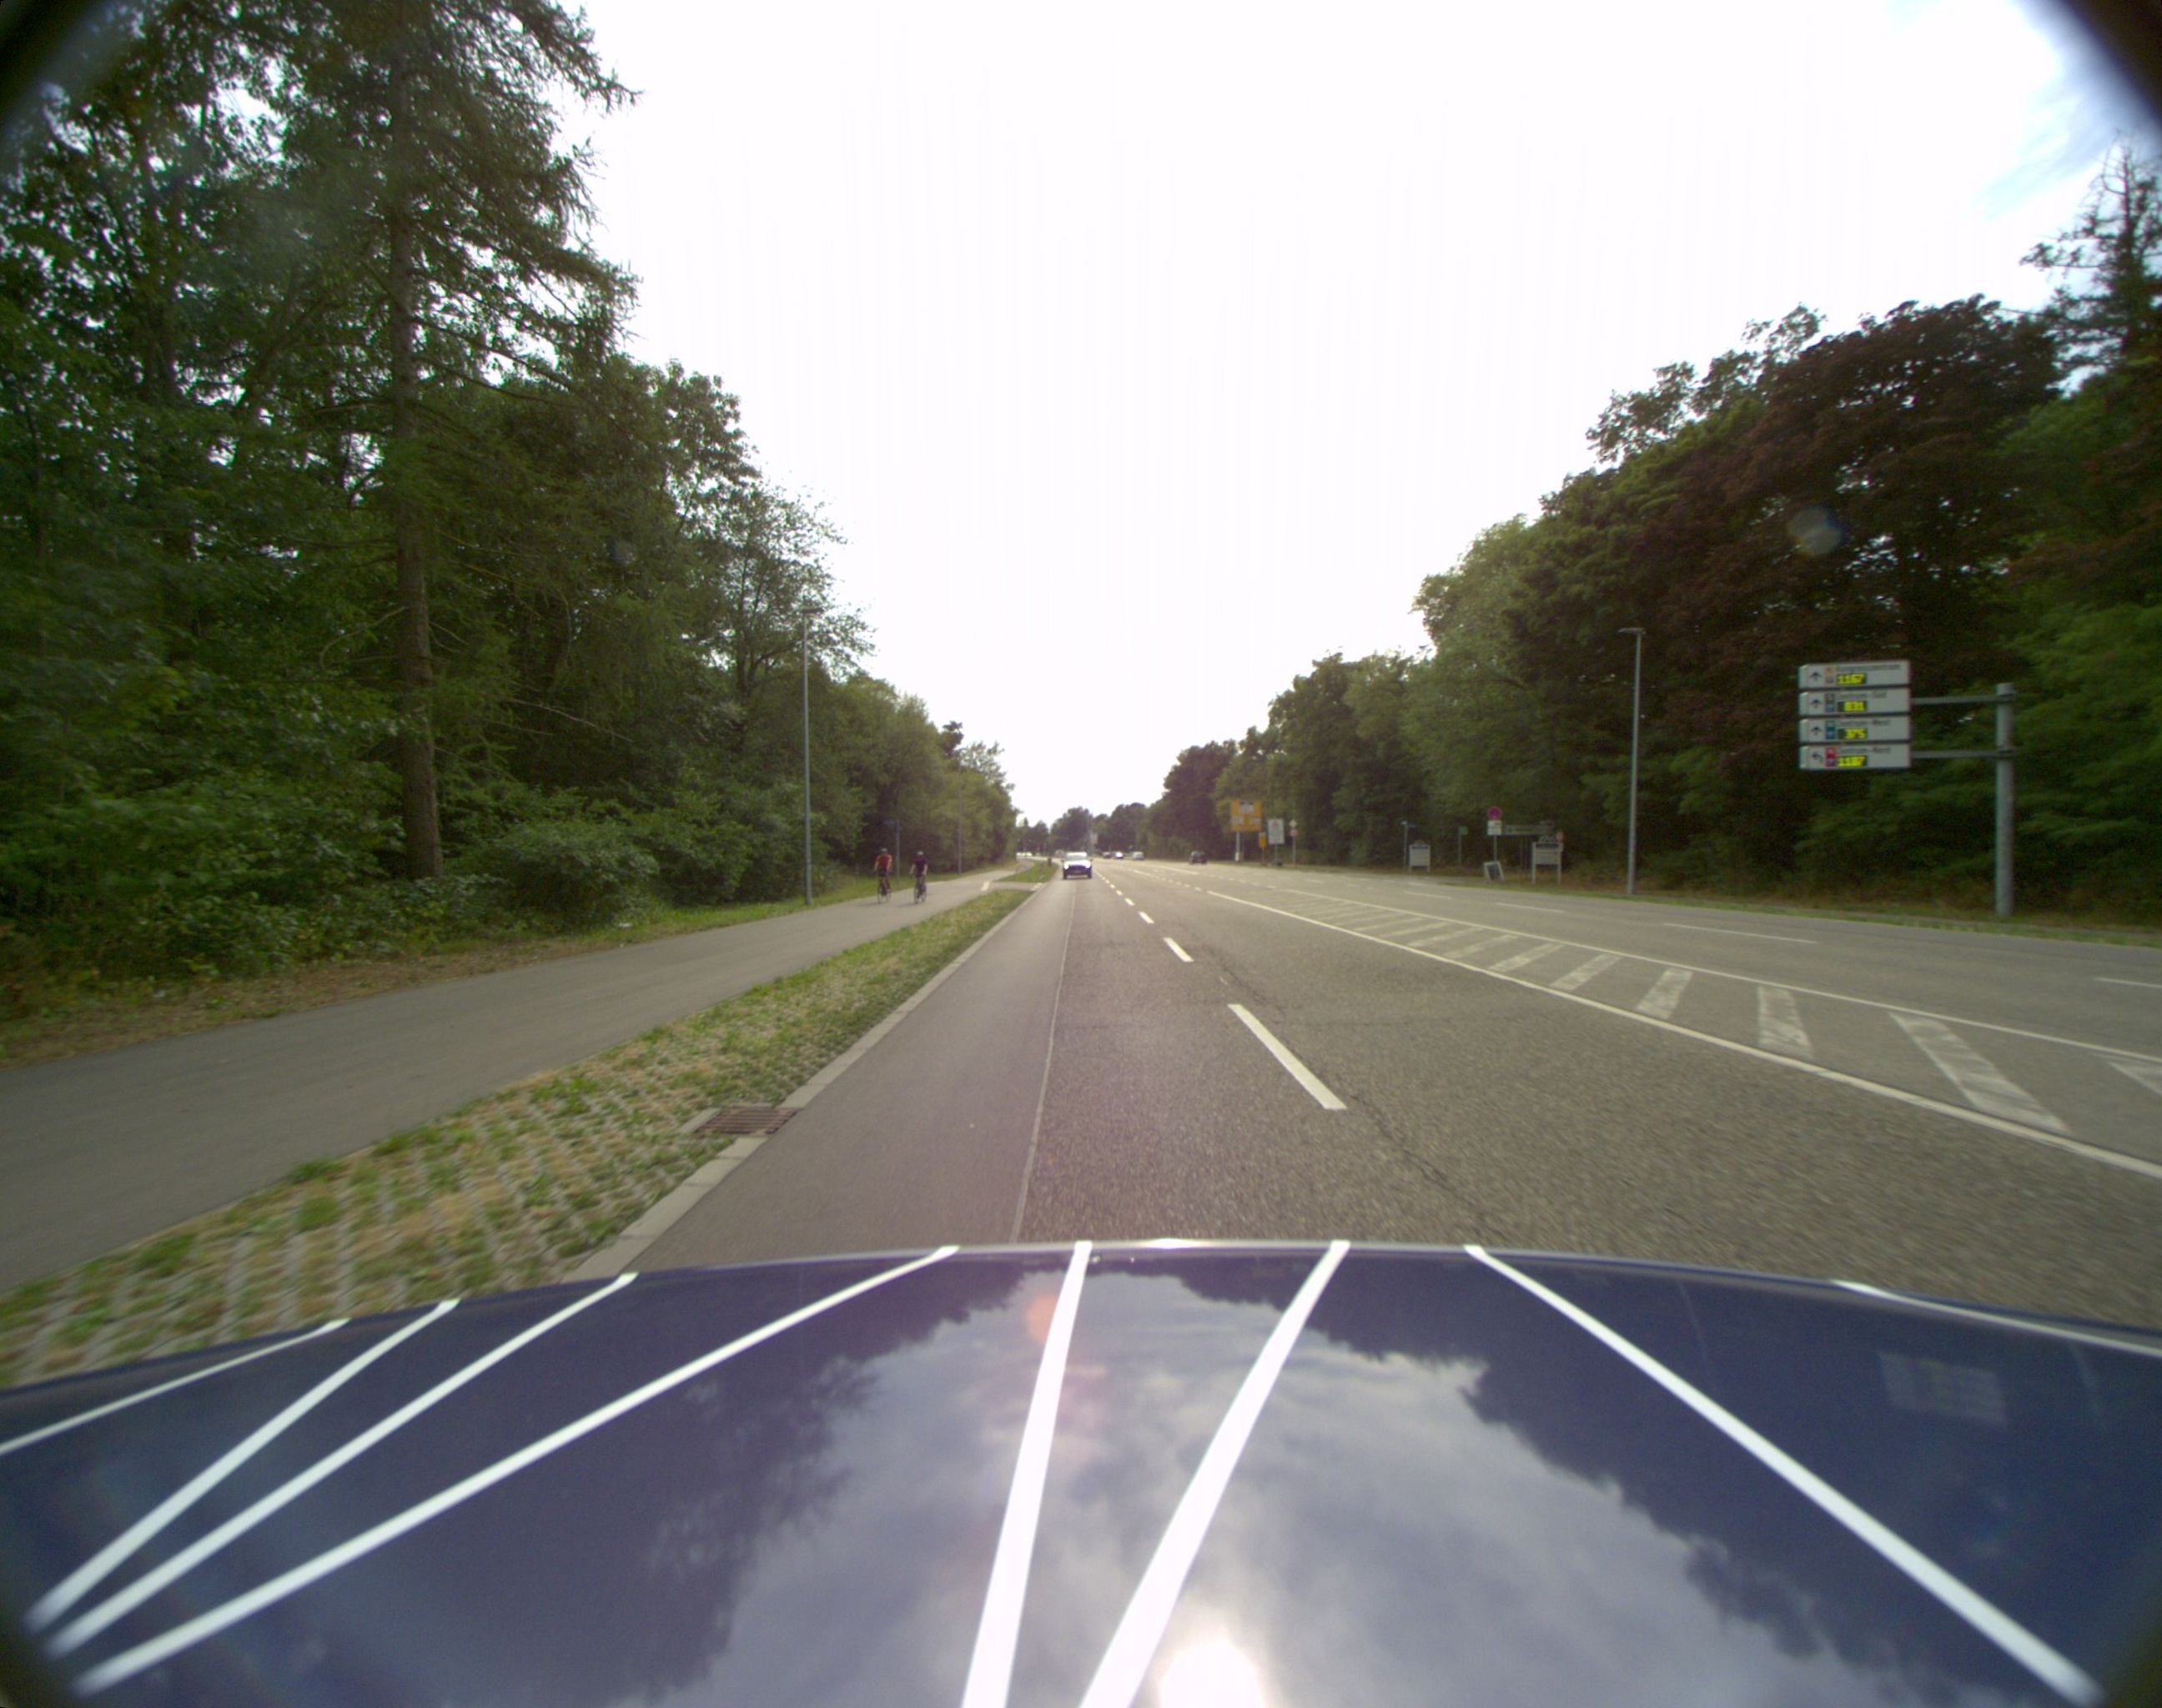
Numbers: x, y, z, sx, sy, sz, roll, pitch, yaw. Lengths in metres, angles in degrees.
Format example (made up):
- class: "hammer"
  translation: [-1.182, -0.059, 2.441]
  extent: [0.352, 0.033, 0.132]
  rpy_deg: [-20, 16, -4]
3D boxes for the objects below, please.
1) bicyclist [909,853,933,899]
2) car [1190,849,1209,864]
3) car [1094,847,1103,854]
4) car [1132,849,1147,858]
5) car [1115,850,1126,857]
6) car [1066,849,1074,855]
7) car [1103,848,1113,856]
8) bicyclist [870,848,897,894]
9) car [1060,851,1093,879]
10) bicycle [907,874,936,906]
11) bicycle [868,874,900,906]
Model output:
- class: "bicyclist"
  translation: [-5.164, 0.698, 24.529]
  extent: [0.521, 1.407, 1.186]
  rpy_deg: [-1, 1, -1]
- class: "car"
  translation: [13.249, 0.256, 85.225]
  extent: [1.745, 1.467, 4.000]
  rpy_deg: [-3, 1, 4]
- class: "car"
  translation: [4.987, -1.024, 212.455]
  extent: [1.999, 2.002, 3.997]
  rpy_deg: [-3, 1, -5]
- class: "car"
  translation: [10.538, -0.075, 137.087]
  extent: [1.940, 1.492, 4.589]
  rpy_deg: [-3, 1, -2]
- class: "car"
  translation: [9.590, -0.092, 183.223]
  extent: [1.999, 1.585, 3.997]
  rpy_deg: [-3, 1, -5]
- class: "car"
  translation: [-3.458, -0.653, 239.440]
  extent: [2.000, 1.641, 3.997]
  rpy_deg: [-1, 0, -7]
- class: "car"
  translation: [7.003, -0.631, 197.646]
  extent: [1.999, 1.871, 3.998]
  rpy_deg: [-3, 1, -3]
- class: "bicyclist"
  translation: [-6.342, 0.537, 24.447]
  extent: [0.521, 1.407, 1.186]
  rpy_deg: [-2, 1, -1]
- class: "car"
  translation: [-0.267, 0.667, 49.380]
  extent: [1.998, 1.565, 3.999]
  rpy_deg: [-3, 1, 1]
- class: "bicycle"
  translation: [-5.150, 1.145, 24.602]
  extent: [0.567, 0.906, 1.754]
  rpy_deg: [1, 1, -1]
- class: "bicycle"
  translation: [-6.315, 1.130, 24.437]
  extent: [0.567, 0.906, 1.886]
  rpy_deg: [1, 1, -1]
